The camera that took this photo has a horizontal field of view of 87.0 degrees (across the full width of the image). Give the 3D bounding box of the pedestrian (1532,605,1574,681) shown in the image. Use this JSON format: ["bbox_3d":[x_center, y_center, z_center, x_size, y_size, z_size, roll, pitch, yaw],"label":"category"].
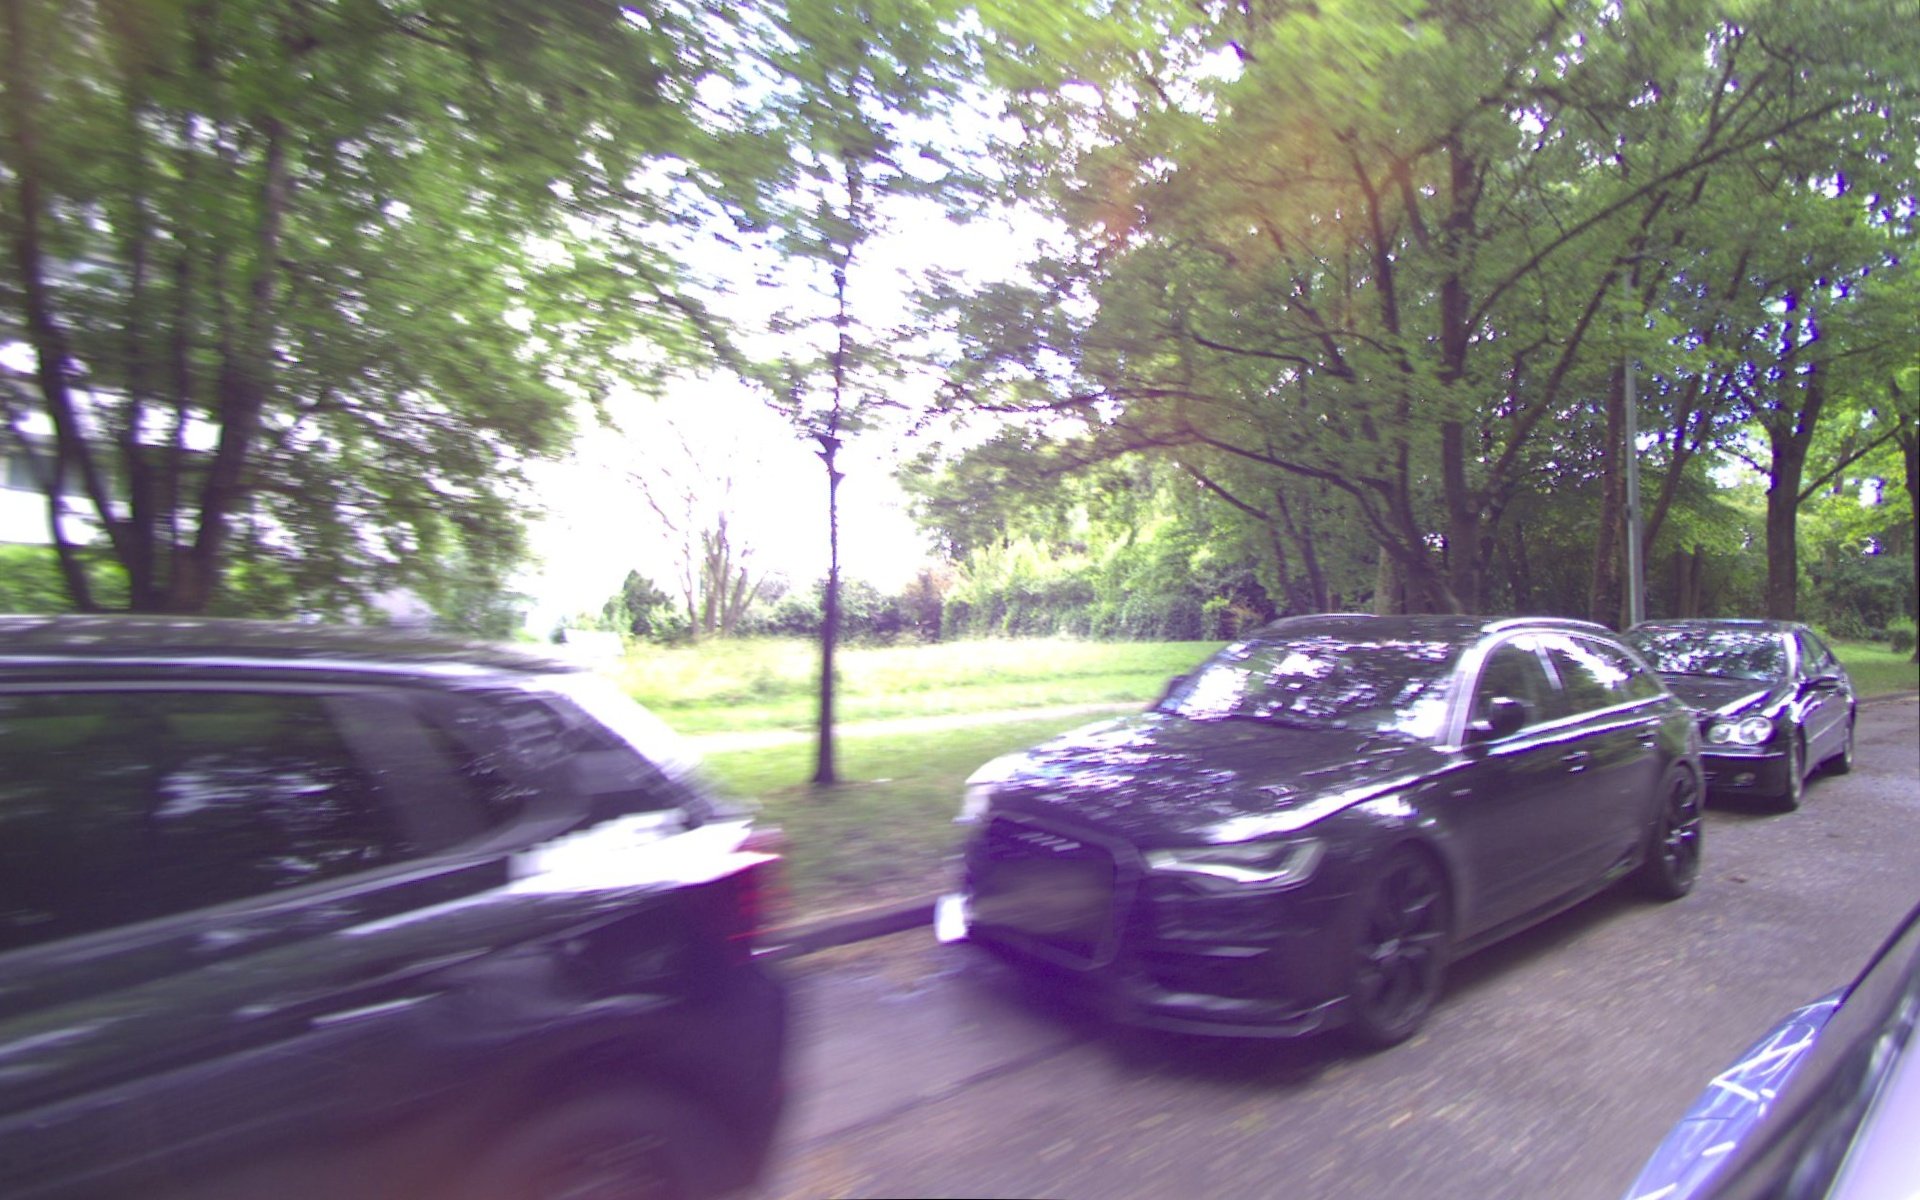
[{"bbox_3d":[13.458,0.965,22.972,0.858,1.673,0.581,2,-3,-44],"label":"pedestrian"}]

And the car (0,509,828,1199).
[{"bbox_3d":[-2.232,0.637,1.370,3.832,1.483,1.683,1,-2,-43],"label":"car"}]

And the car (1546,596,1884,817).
[{"bbox_3d":[6.731,0.762,8.843,4.242,1.484,1.591,1,-2,-42],"label":"car"}]

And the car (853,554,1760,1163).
[{"bbox_3d":[1.965,0.736,4.920,4.646,1.632,1.918,1,-2,-37],"label":"car"}]
